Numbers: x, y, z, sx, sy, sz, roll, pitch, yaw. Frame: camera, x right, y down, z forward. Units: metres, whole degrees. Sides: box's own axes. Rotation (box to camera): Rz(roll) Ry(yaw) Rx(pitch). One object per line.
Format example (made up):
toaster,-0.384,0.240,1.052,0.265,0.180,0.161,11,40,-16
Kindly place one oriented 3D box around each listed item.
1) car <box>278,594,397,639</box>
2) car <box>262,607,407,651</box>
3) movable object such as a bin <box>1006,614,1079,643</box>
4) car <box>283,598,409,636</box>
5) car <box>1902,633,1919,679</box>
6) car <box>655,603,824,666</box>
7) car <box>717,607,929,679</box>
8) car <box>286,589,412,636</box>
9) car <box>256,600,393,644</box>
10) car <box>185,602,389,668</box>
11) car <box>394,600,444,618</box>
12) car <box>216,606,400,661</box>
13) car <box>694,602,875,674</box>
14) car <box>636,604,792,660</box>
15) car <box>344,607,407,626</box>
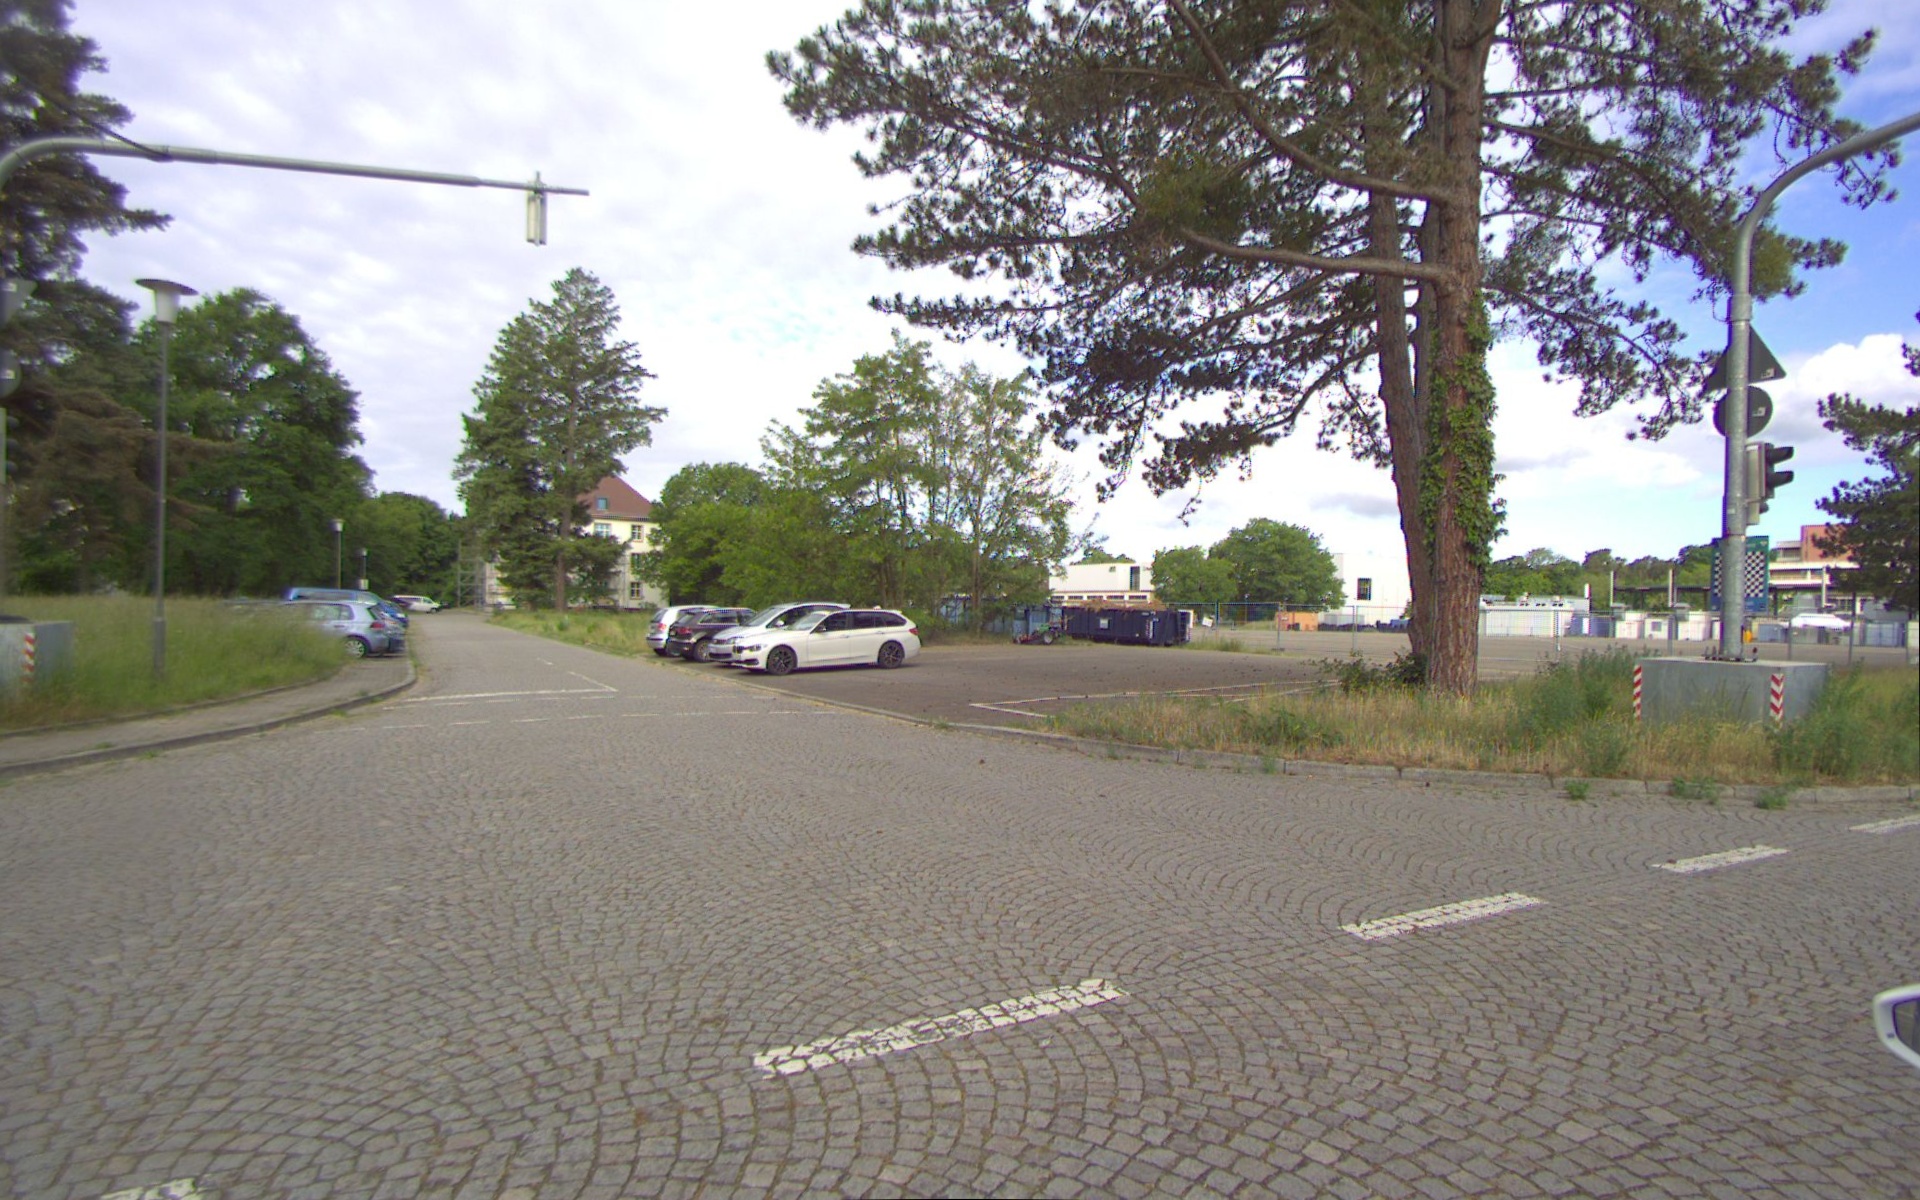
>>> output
car,-24.971,0.661,40.438,3.950,1.737,1.678,0,0,-28
car,-20.601,0.951,33.287,3.951,1.372,1.678,1,-1,-29
movable object such as a bin,3.125,1.083,37.942,2.632,1.062,1.170,1,-1,-35
car,-23.135,0.652,38.039,3.951,1.372,1.678,1,-1,-29
car,33.643,1.898,33.903,3.953,1.507,1.605,1,0,-30
car,-6.153,0.903,28.220,4.280,1.522,1.844,-2,1,-33
car,-3.201,0.961,23.885,4.688,1.461,1.799,-1,1,-33
car,-27.329,0.537,45.103,4.736,2.007,1.982,0,0,-30
car,-22.275,0.777,35.404,3.951,1.457,1.678,1,-1,-29
car,-16.139,0.826,24.328,3.954,1.492,1.677,1,-1,-31
car,-63.402,1.083,117.737,5.103,2.040,1.984,1,-1,-31
car,-17.152,0.876,26.679,3.951,1.372,1.678,1,-1,-29
car,-4.512,0.913,26.071,4.280,1.605,1.811,-2,1,-33
car,-7.449,0.944,30.563,4.280,1.587,1.782,1,0,-33
car,-43.432,1.233,74.758,3.951,1.372,1.678,1,-1,-29
